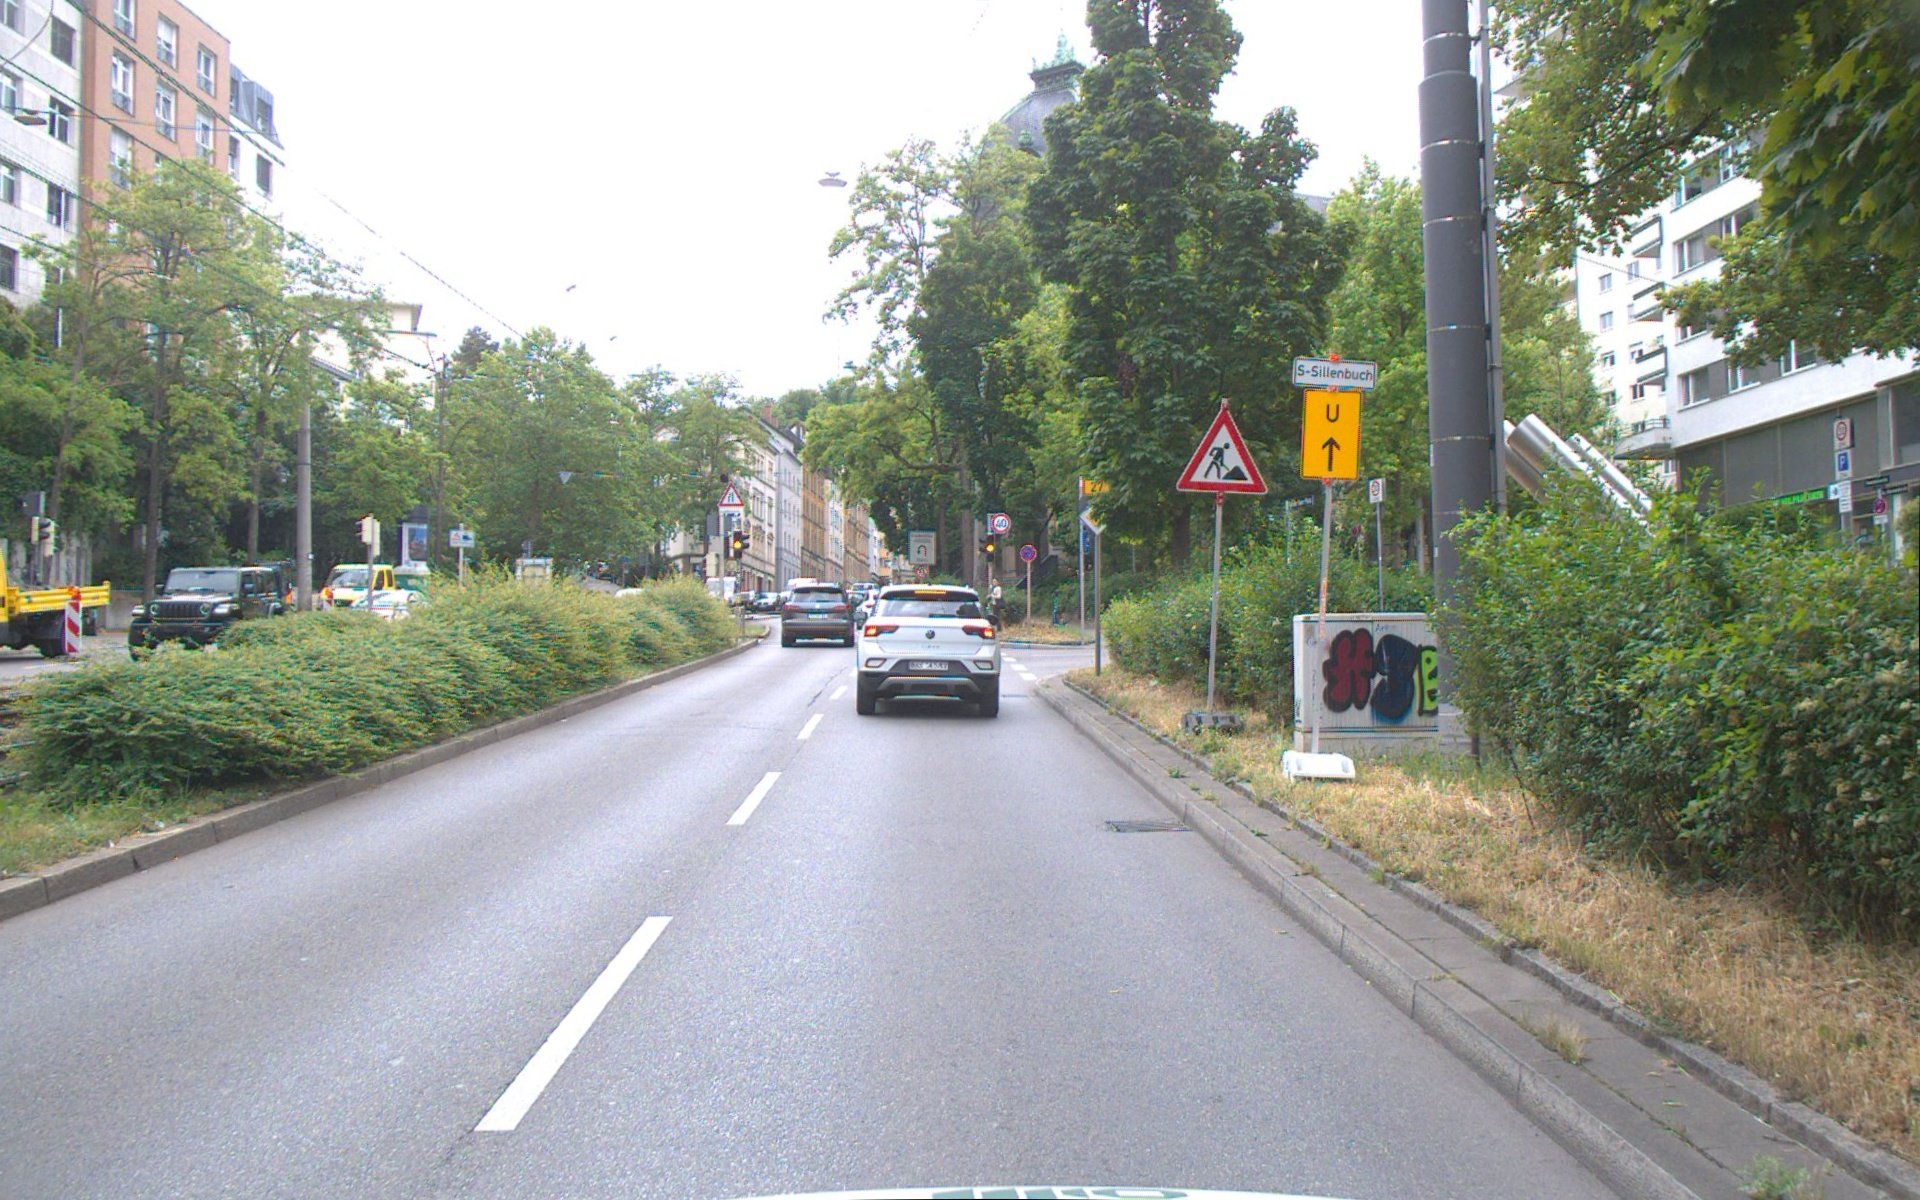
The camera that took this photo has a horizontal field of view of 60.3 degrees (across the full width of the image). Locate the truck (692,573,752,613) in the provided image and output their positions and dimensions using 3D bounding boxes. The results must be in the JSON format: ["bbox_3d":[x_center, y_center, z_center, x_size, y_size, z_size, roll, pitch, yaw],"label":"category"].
[{"bbox_3d":[-14.702,-0.477,102.544,2.371,2.207,6.037,3,2,3],"label":"truck"}]

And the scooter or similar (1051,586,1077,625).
[{"bbox_3d":[3.242,0.178,51.681,0.465,1.119,1.365,-1,-3,-11],"label":"scooter or similar"}]

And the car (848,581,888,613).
[{"bbox_3d":[-6.767,-0.218,122.394,2.371,2.207,6.035,1,0,2],"label":"car"}]

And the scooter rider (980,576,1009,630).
[{"bbox_3d":[1.020,0.088,48.926,0.764,1.585,0.531,-1,0,-12],"label":"scooter rider"}]

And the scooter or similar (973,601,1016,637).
[{"bbox_3d":[1.018,0.561,48.923,1.166,1.011,0.530,-1,0,-11],"label":"scooter or similar"}]

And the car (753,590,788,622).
[{"bbox_3d":[-13.238,0.447,115.855,1.953,2.049,3.998,2,-2,-1],"label":"car"}]

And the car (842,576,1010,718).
[{"bbox_3d":[-0.477,0.540,21.205,1.899,1.594,4.044,2,0,-3],"label":"car"}]

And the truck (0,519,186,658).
[{"bbox_3d":[-19.213,-0.155,34.392,2.858,2.554,7.150,2,-2,-1],"label":"truck"}]

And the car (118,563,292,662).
[{"bbox_3d":[-15.713,0.268,34.706,1.863,1.909,4.637,1,-1,-6],"label":"car"}]

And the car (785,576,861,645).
[{"bbox_3d":[-3.650,0.278,44.564,1.802,1.770,3.999,1,0,-2],"label":"car"}]

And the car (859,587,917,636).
[{"bbox_3d":[-2.675,0.451,60.601,1.955,1.652,3.995,-1,-2,-5],"label":"car"}]

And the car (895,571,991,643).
[{"bbox_3d":[-0.483,0.220,41.457,1.867,1.602,3.826,3,-2,-8],"label":"car"}]

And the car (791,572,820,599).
[{"bbox_3d":[-12.426,-1.148,133.392,1.953,2.049,3.999,-1,0,-1],"label":"car"}]
